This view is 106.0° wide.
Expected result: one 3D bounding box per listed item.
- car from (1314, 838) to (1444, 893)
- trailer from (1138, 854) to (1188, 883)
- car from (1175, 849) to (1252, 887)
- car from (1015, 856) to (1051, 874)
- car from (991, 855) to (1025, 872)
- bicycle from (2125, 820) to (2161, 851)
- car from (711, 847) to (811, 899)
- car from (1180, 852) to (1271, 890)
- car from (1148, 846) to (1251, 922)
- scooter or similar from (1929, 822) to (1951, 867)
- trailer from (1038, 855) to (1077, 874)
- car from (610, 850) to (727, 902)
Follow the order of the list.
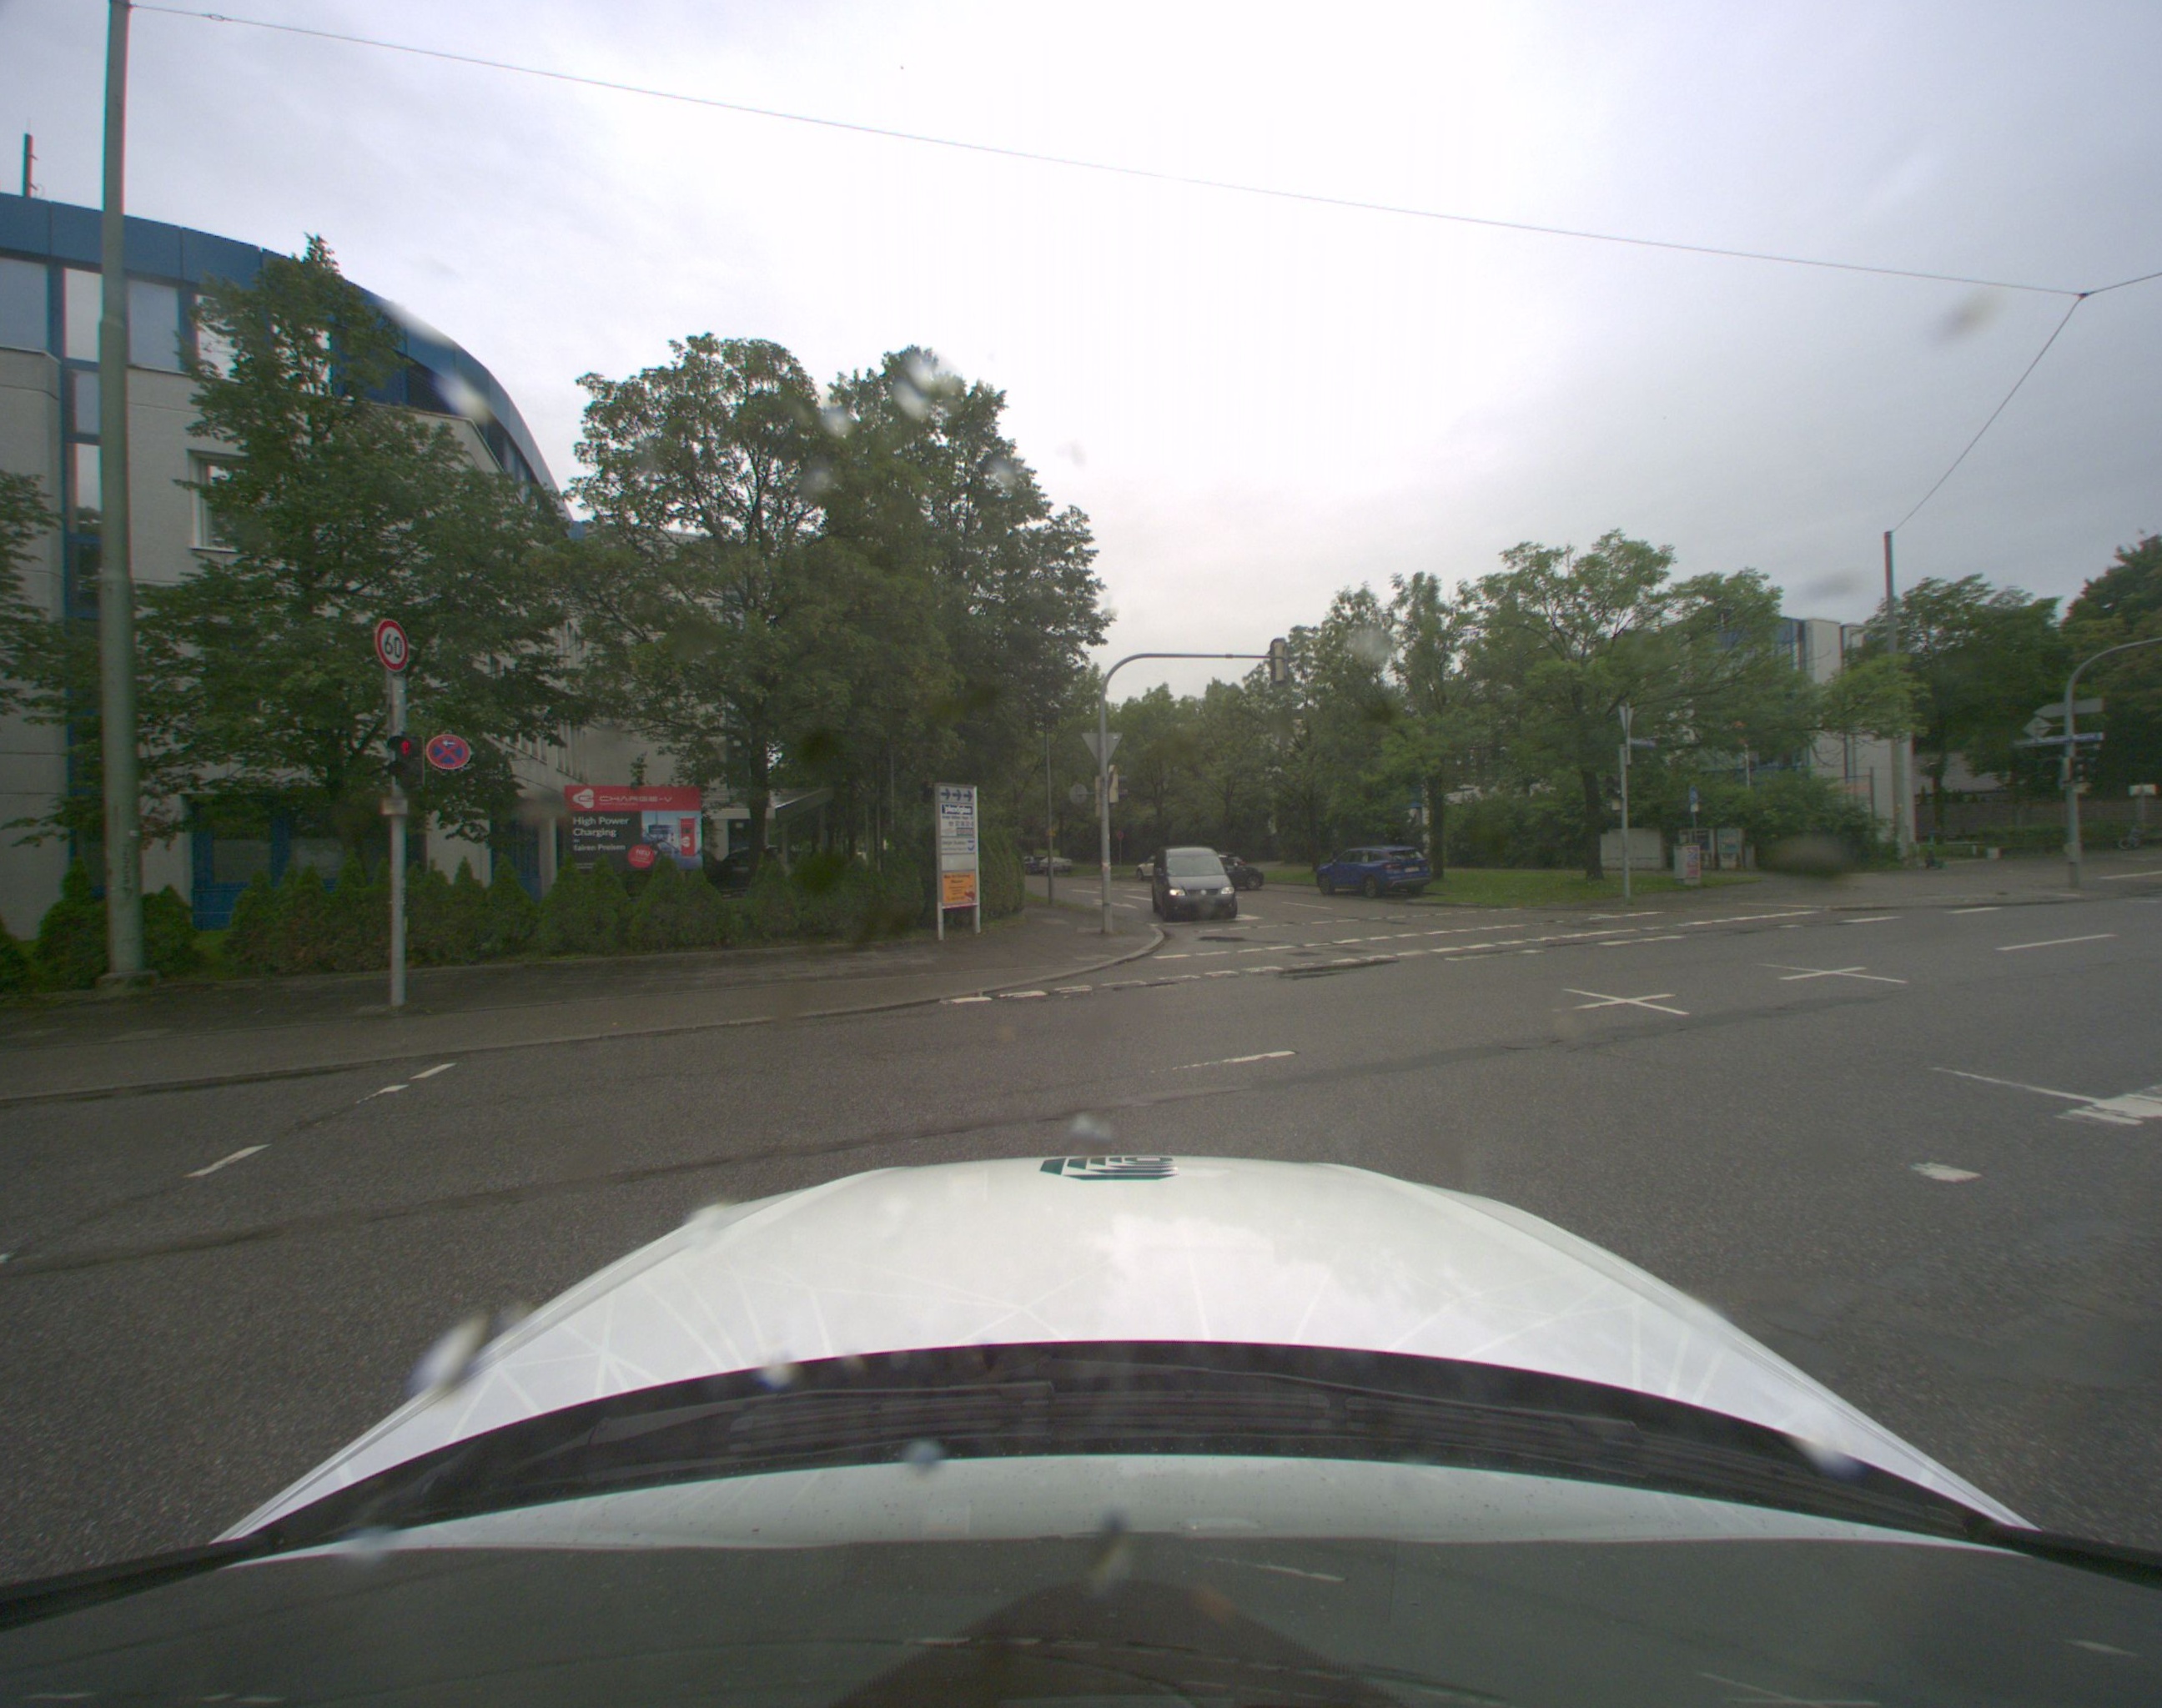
[{"bbox_3d":[9.848,0.377,27.287,1.996,1.574,4.262,-4,0,-14],"label":"car"},{"bbox_3d":[4.383,0.776,43.960,1.451,1.414,3.321,-2,1,-19],"label":"trailer"},{"bbox_3d":[6.246,0.672,38.890,1.763,1.574,4.136,-4,0,-20],"label":"car"},{"bbox_3d":[-3.726,0.817,62.967,1.561,1.262,3.392,-2,1,-28],"label":"car"},{"bbox_3d":[-6.071,0.778,67.341,1.561,1.262,3.392,-2,1,-28],"label":"car"},{"bbox_3d":[45.861,-0.800,35.072,2.459,1.295,0.579,-2,1,-26],"label":"bicycle"},{"bbox_3d":[-10.202,0.546,26.300,1.861,1.418,4.169,-1,1,-6],"label":"car"},{"bbox_3d":[5.827,0.685,33.027,3.265,1.444,1.662,-1,-1,-6],"label":"car"},{"bbox_3d":[2.978,0.724,21.510,1.987,1.723,4.790,-1,-1,0],"label":"car"},{"bbox_3d":[28.315,-0.326,26.833,1.412,1.424,0.367,-2,1,-38],"label":"scooter or similar"},{"bbox_3d":[-1.711,0.747,59.089,1.561,1.262,3.394,-2,1,-26],"label":"trailer"},{"bbox_3d":[-12.927,0.621,25.848,1.861,1.418,4.169,-1,1,-6],"label":"car"}]
